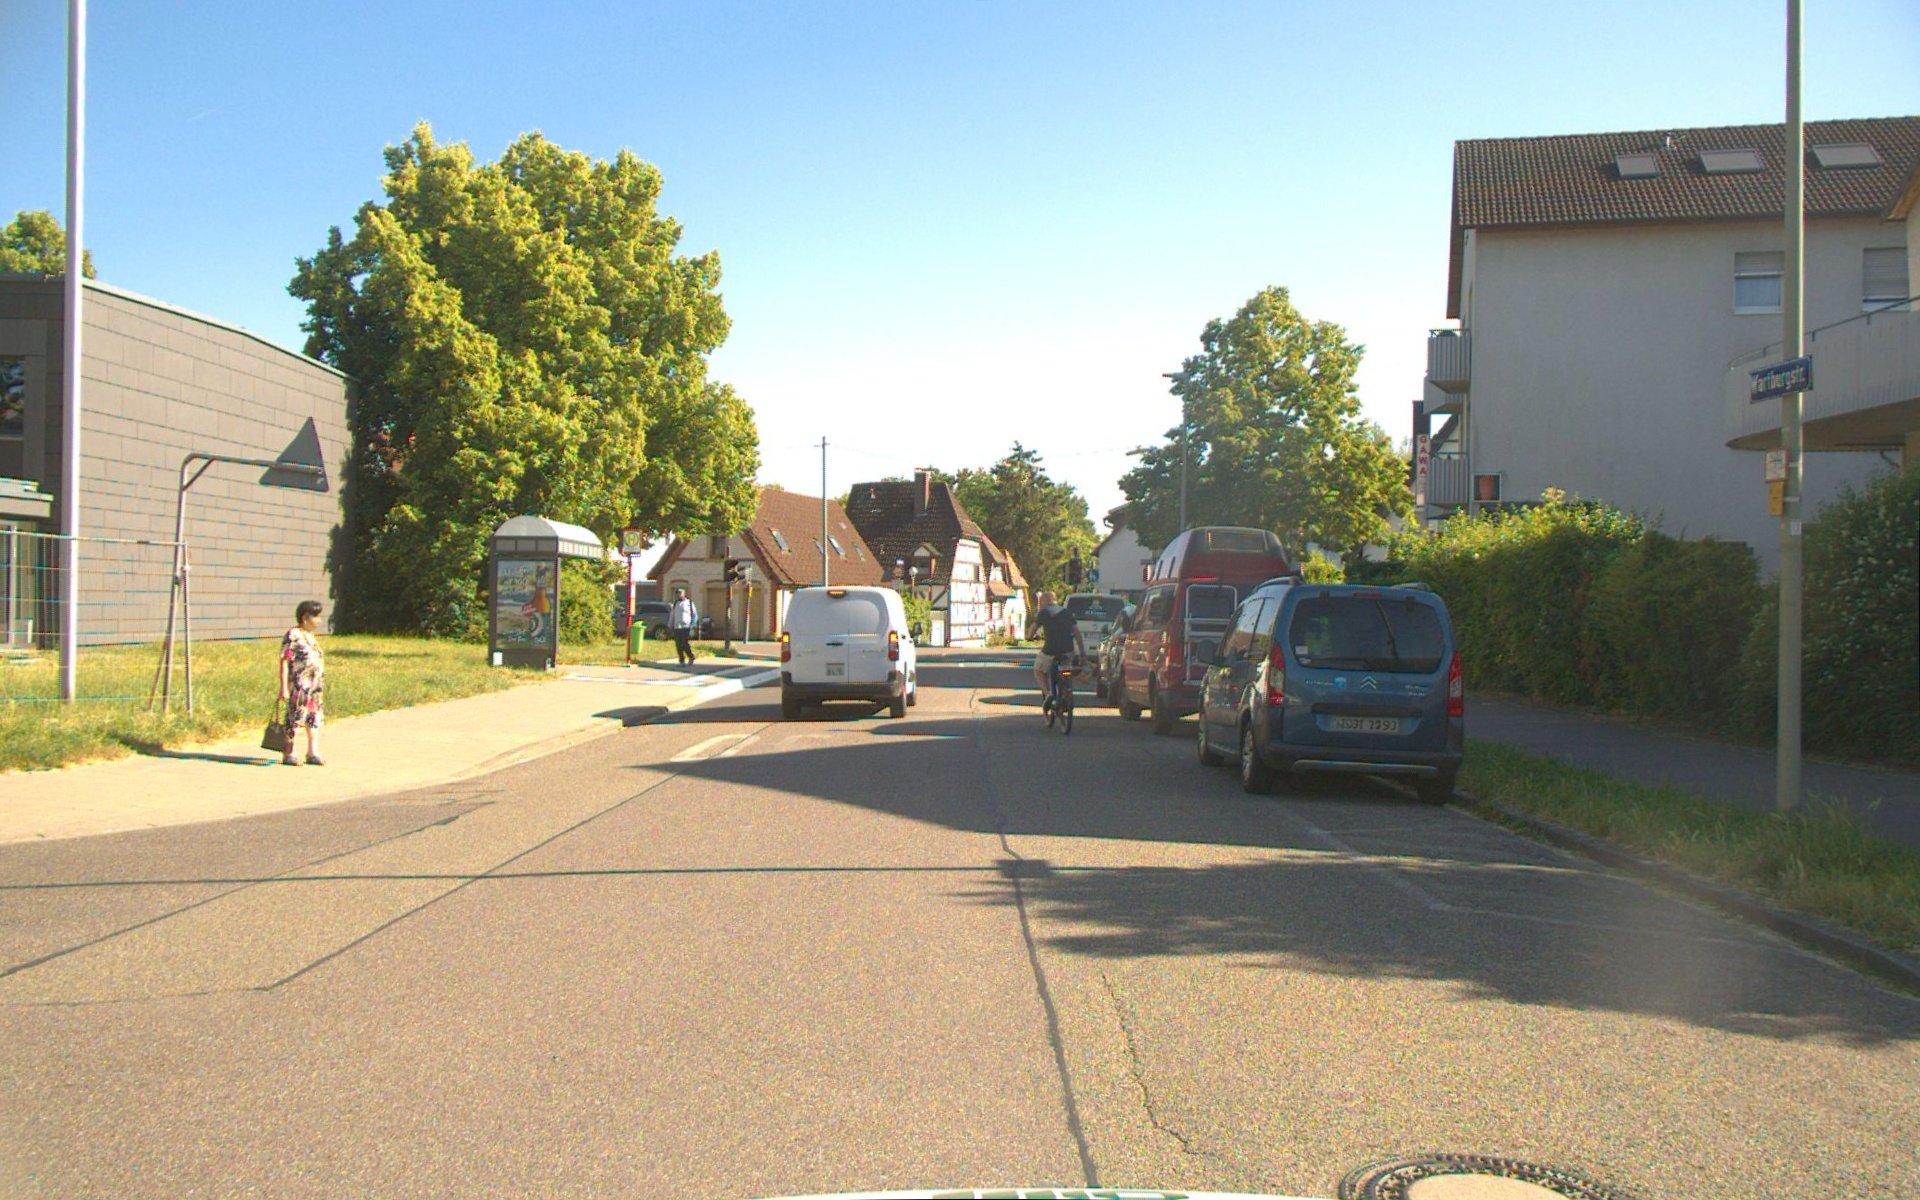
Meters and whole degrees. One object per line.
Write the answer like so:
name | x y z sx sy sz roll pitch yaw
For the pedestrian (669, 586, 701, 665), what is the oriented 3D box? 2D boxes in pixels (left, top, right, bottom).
pedestrian | -6.462 0.594 38.861 0.608 1.836 0.640 1 -1 -1

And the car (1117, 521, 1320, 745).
car | 3.347 0.423 22.332 1.829 2.607 4.766 3 -1 -1

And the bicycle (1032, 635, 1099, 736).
bicycle | 1.334 1.070 21.348 0.770 1.158 2.280 1 0 2

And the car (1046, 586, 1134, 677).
car | 3.226 0.778 41.724 1.767 2.105 3.999 3 -1 -1

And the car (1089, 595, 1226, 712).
car | 3.364 0.890 28.855 1.767 1.816 3.999 3 -1 -1

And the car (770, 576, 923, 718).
car | -1.600 0.661 24.775 1.952 1.915 4.288 -1 -1 0

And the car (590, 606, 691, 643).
car | -13.767 1.037 71.265 3.894 1.454 1.716 1 0 18

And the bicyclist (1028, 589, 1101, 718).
bicyclist | 1.337 0.677 21.302 0.887 1.612 0.967 1 -1 2

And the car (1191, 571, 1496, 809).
car | 3.361 0.744 15.290 1.767 1.816 3.999 3 -1 -1

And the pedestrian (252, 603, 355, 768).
pedestrian | -6.095 0.783 15.362 0.501 1.471 0.637 4 0 33
